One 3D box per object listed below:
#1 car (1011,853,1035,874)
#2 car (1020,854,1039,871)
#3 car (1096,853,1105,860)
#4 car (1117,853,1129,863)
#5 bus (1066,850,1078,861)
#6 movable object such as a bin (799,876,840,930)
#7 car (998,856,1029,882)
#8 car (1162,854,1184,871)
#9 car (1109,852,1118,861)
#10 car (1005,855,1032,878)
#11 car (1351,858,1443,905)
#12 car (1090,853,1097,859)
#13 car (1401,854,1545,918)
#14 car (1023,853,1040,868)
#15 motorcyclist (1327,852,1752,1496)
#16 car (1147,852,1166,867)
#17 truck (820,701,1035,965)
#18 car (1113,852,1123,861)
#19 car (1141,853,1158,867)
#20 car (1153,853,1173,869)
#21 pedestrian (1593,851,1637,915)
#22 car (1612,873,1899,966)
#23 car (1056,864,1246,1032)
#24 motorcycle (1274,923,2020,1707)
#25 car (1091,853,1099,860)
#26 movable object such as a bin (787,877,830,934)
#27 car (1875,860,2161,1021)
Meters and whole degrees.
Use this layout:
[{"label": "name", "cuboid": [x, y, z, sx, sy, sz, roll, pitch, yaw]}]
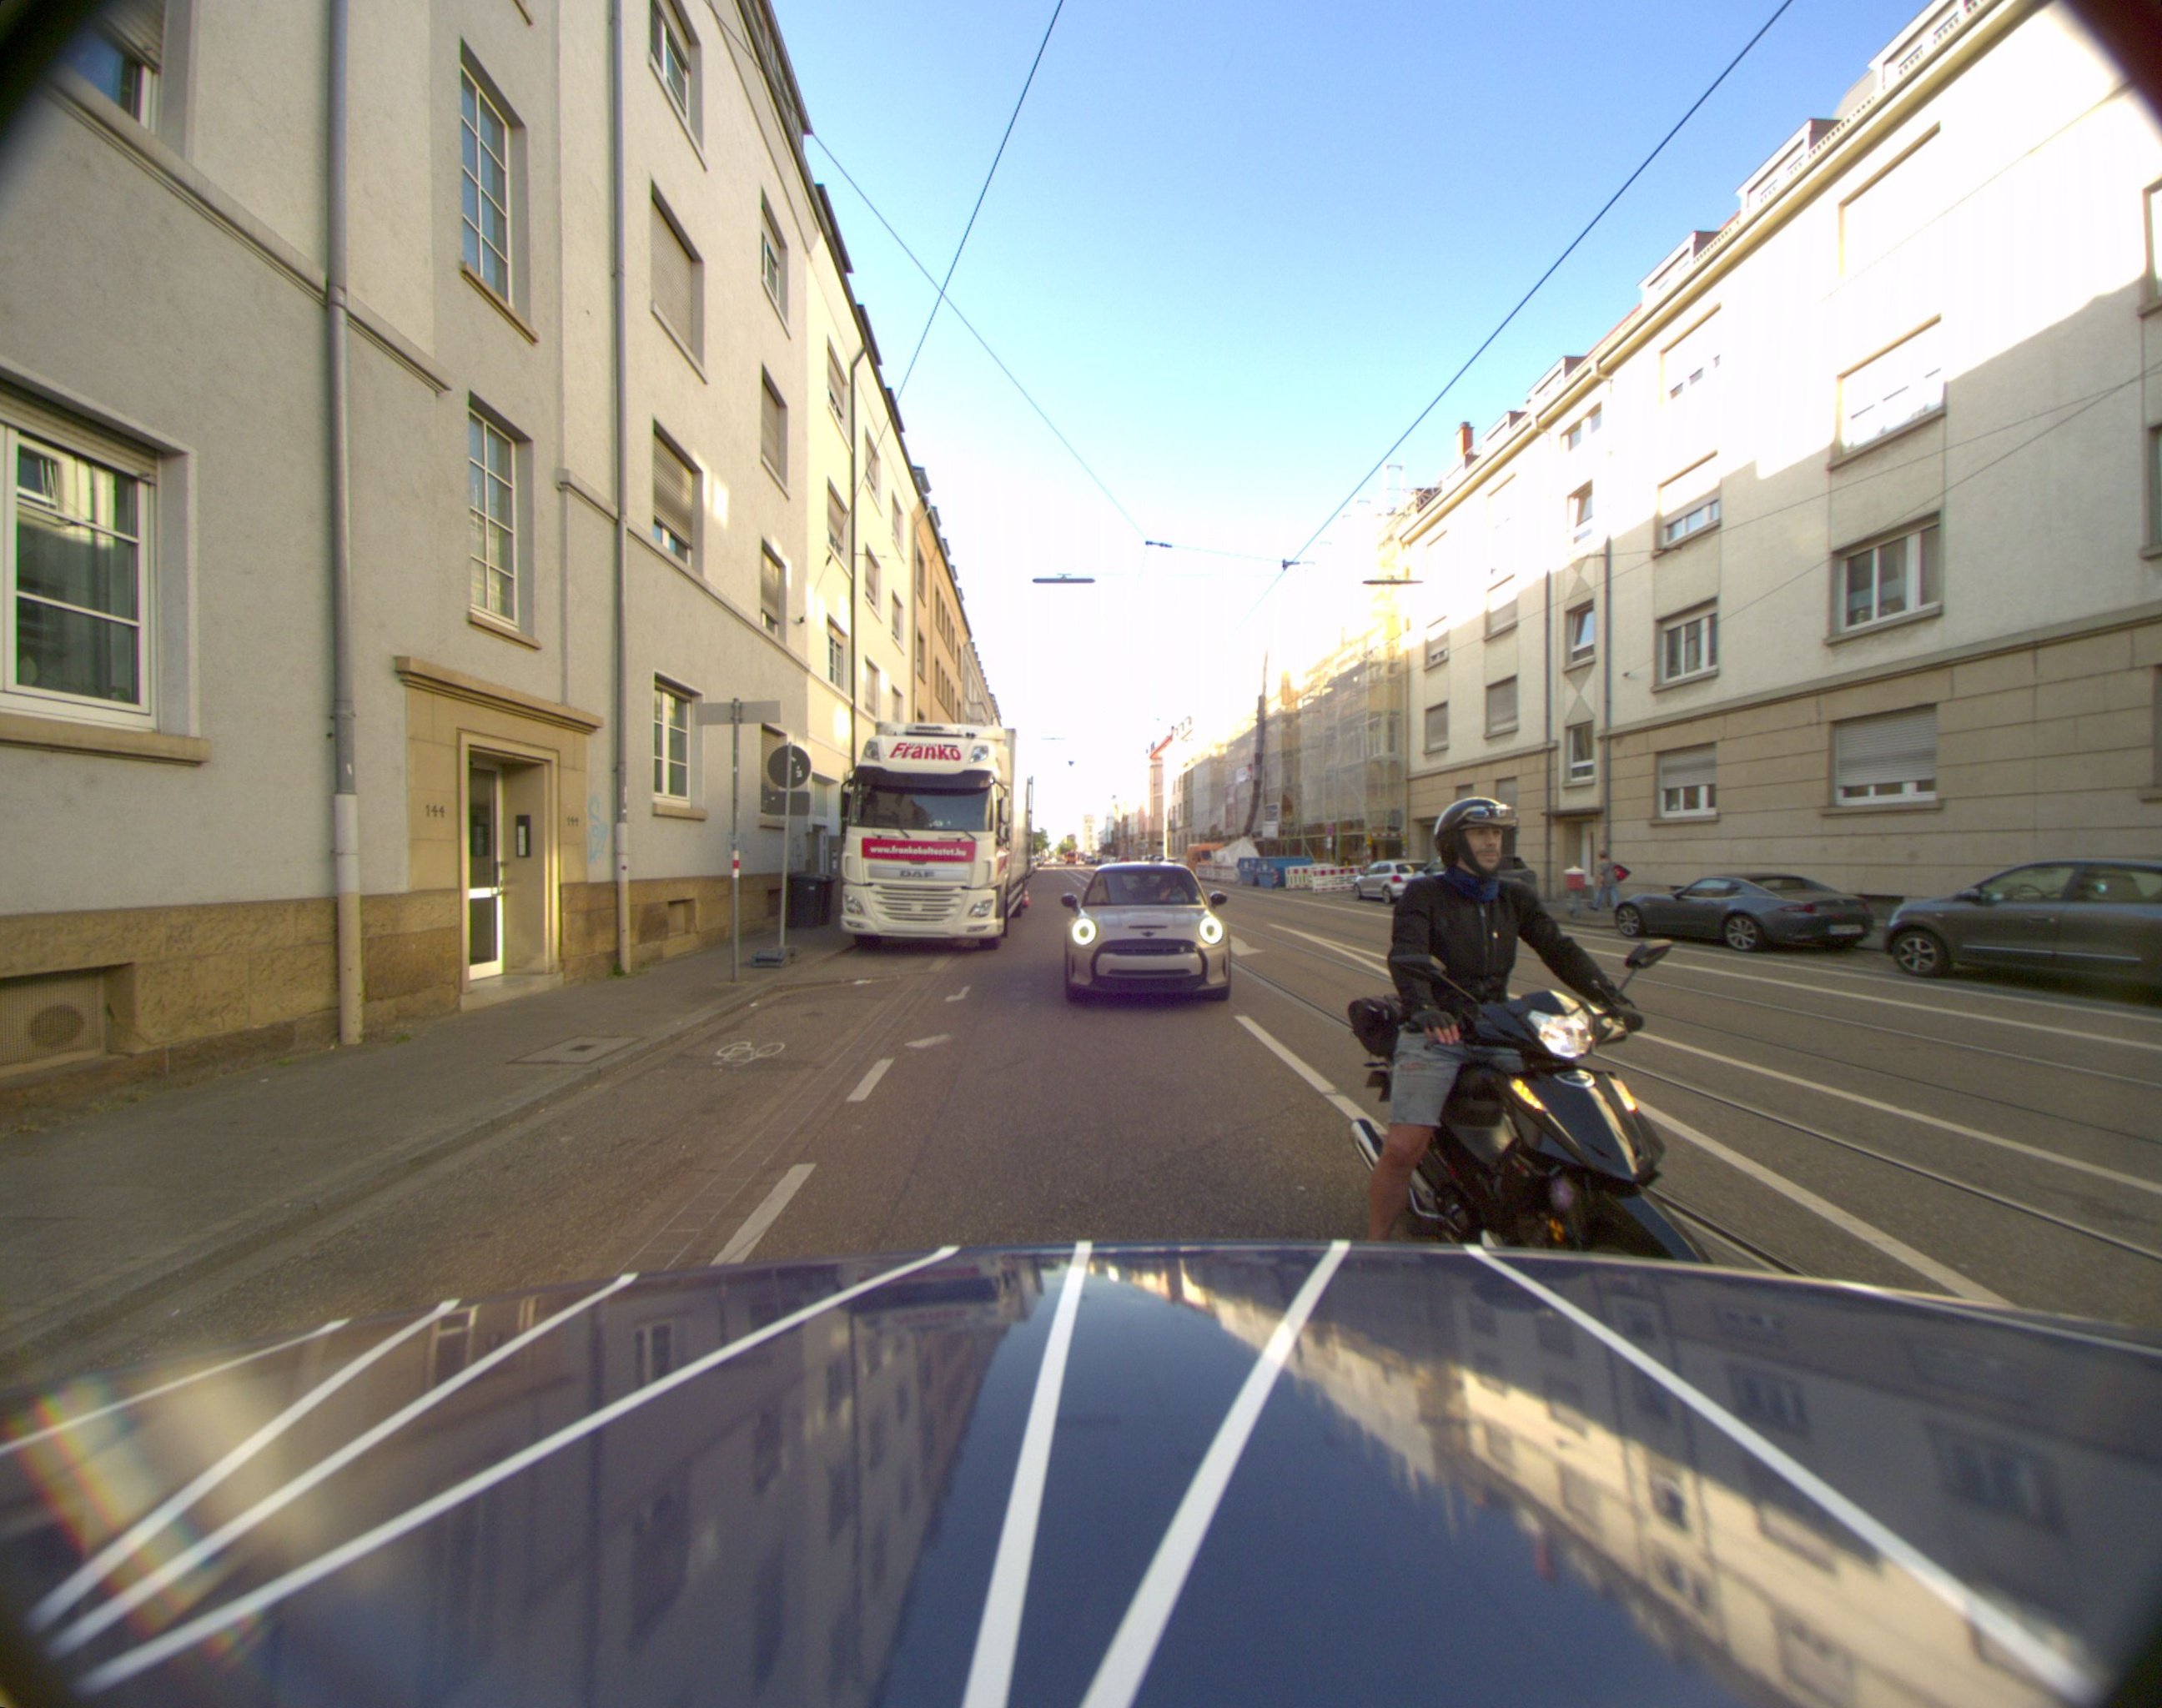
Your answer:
[{"label": "car", "cuboid": [-4.513, 0.747, 59.151, 1.685, 1.522, 4.148, -2, 0, -3]}, {"label": "car", "cuboid": [-4.859, 0.750, 72.091, 1.685, 1.522, 4.148, -2, 0, -3]}, {"label": "car", "cuboid": [4.252, 0.617, 167.805, 1.684, 1.478, 3.965, -2, 0, -1]}, {"label": "car", "cuboid": [6.594, 0.623, 118.629, 1.684, 1.478, 3.966, -2, 0, 1]}, {"label": "bus", "cuboid": [-2.651, 0.437, 215.899, 2.755, 3.095, 19.156, 0, 0, -3]}, {"label": "movable object such as a bin", "cuboid": [-5.400, 1.000, 15.702, 0.666, 1.087, 0.570, 0, 1, -2]}, {"label": "car", "cuboid": [-4.177, 0.898, 47.180, 1.685, 1.522, 4.148, -2, 0, -3]}, {"label": "car", "cuboid": [8.569, 0.760, 71.106, 1.684, 1.478, 3.966, -2, 0, 1]}, {"label": "car", "cuboid": [5.953, 0.444, 139.337, 1.684, 1.478, 3.966, -2, 0, 1]}, {"label": "car", "cuboid": [-4.304, 0.830, 52.983, 1.685, 1.522, 4.148, -2, 0, -3]}, {"label": "car", "cuboid": [10.609, 0.881, 25.773, 1.543, 1.404, 3.510, -1, 0, -3]}, {"label": "car", "cuboid": [3.302, 0.589, 206.883, 1.684, 1.478, 3.965, -2, 0, -1]}, {"label": "car", "cuboid": [10.810, 0.805, 21.324, 1.696, 1.590, 4.206, -1, 0, -3]}, {"label": "car", "cuboid": [-5.353, 0.650, 82.737, 1.685, 1.522, 4.148, -2, 0, -3]}, {"label": "motorcyclist", "cuboid": [1.309, 0.817, 2.384, 0.791, 1.645, 0.900, 0, 1, 1]}, {"label": "car", "cuboid": [8.242, 0.616, 83.177, 1.684, 1.573, 3.966, -2, 0, 1]}, {"label": "truck", "cuboid": [-2.626, -0.320, 17.174, 2.782, 3.903, 11.816, 0, 0, -2]}, {"label": "car", "cuboid": [6.526, 0.465, 134.395, 1.684, 1.478, 3.966, -2, 0, 1]}, {"label": "car", "cuboid": [7.930, 0.654, 87.873, 1.684, 1.478, 3.966, -2, 0, 1]}, {"label": "car", "cuboid": [8.264, 0.705, 76.803, 1.684, 1.478, 3.966, -2, 0, 1]}, {"label": "pedestrian", "cuboid": [13.030, 0.684, 18.562, 0.570, 1.532, 0.693, 0, 1, -2]}, {"label": "car", "cuboid": [11.180, 1.000, 12.975, 1.520, 1.227, 3.685, -1, 0, -3]}, {"label": "car", "cuboid": [0.592, 0.894, 9.138, 1.685, 1.454, 4.148, -2, 0, -3]}, {"label": "motorcycle", "cuboid": [1.309, 0.974, 2.513, 0.791, 1.284, 2.273, 0, 0, 1]}, {"label": "car", "cuboid": [3.529, 0.609, 191.739, 1.684, 1.478, 3.965, -2, 0, -1]}, {"label": "movable object such as a bin", "cuboid": [-5.383, 1.008, 15.033, 0.666, 1.087, 0.570, 0, 1, -2]}, {"label": "car", "cuboid": [11.417, 0.860, 8.313, 1.679, 1.519, 3.539, -1, 0, -3]}]
